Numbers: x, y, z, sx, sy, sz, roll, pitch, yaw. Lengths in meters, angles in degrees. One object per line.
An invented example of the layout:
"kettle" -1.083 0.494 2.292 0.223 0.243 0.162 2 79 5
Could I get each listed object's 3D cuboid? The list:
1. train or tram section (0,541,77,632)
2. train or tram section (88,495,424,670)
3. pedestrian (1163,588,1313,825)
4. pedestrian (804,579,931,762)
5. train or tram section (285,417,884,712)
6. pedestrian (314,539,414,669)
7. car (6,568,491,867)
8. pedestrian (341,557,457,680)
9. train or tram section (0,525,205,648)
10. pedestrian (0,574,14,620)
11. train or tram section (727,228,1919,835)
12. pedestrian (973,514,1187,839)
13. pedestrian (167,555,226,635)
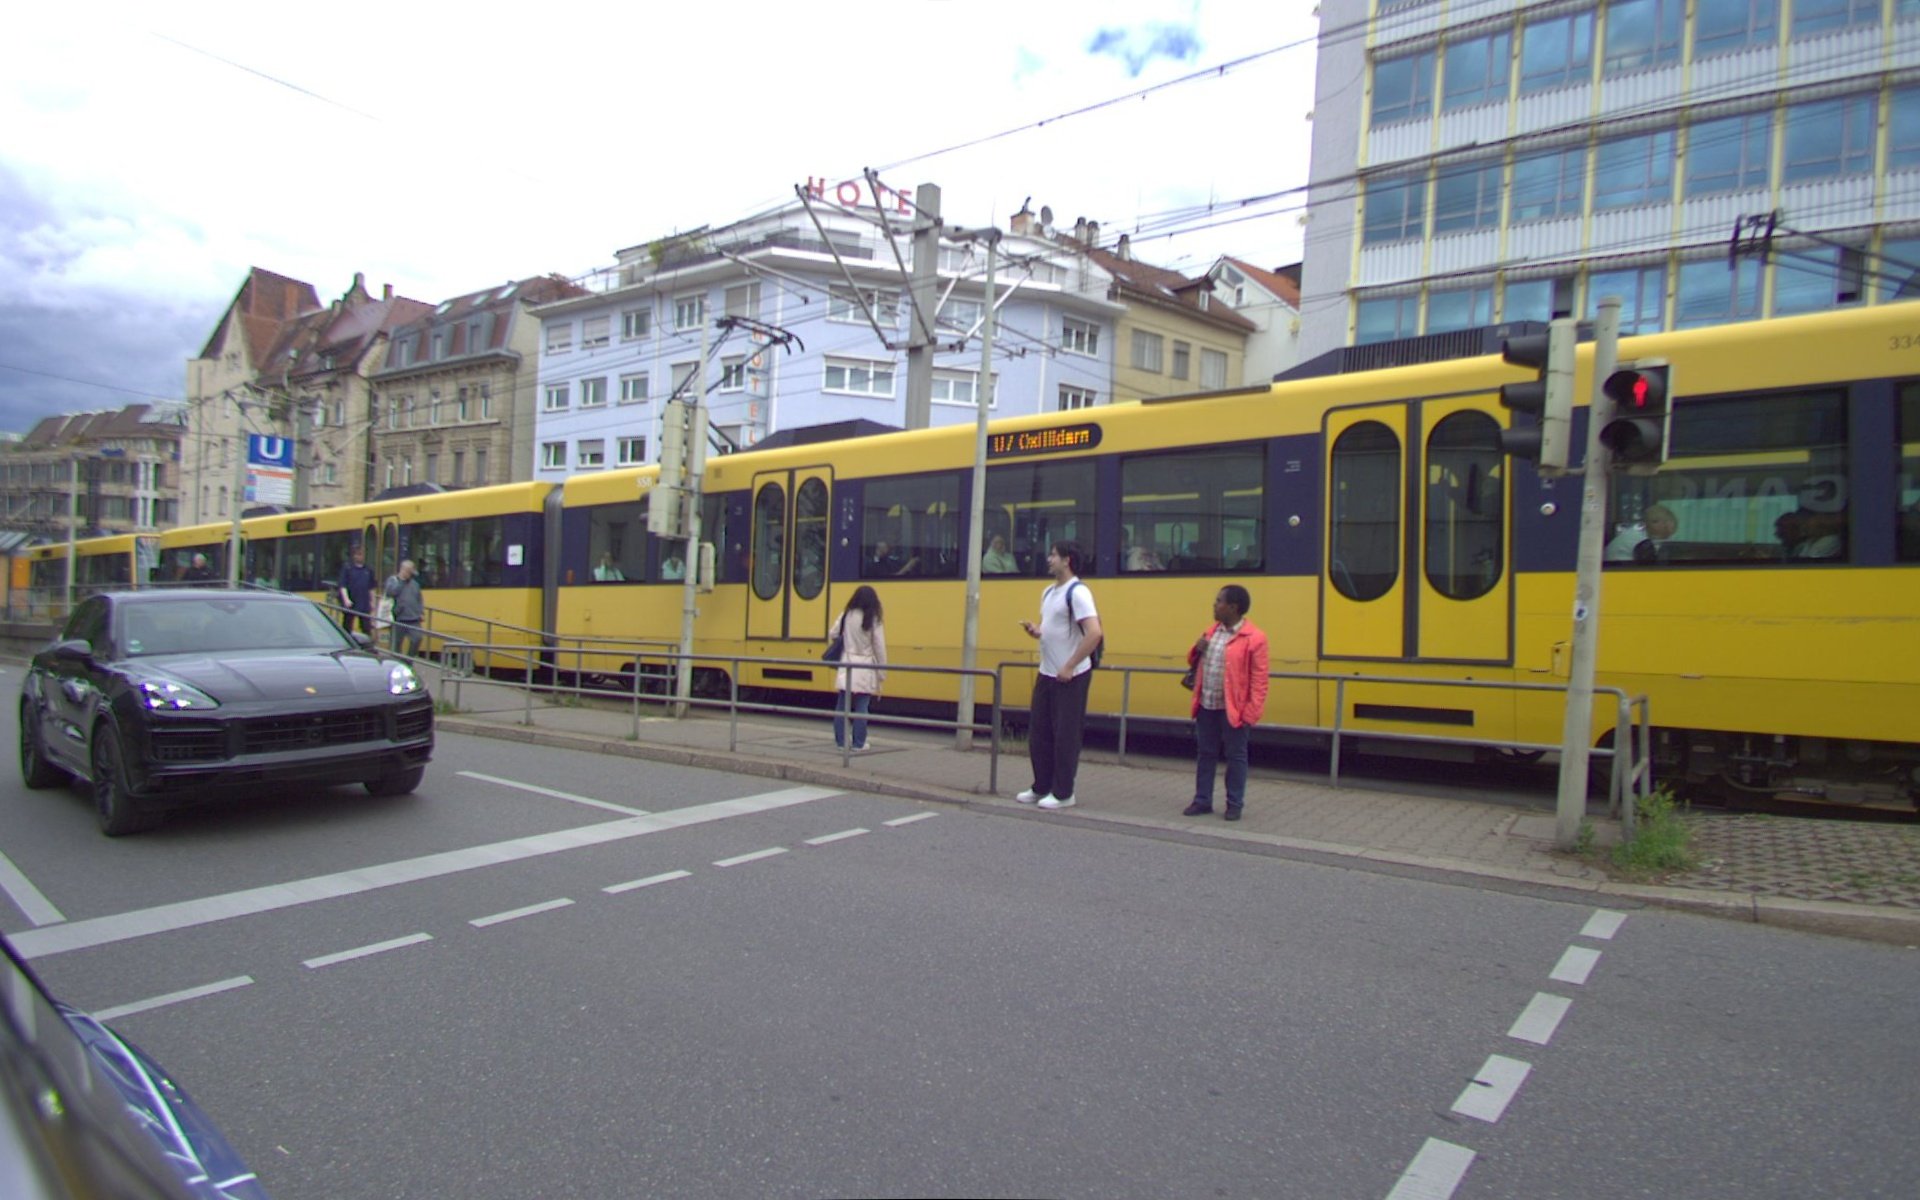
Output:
"train or tram section" -41.831 -0.517 43.366 14.200 3.467 2.856 0 1 36
"train or tram section" -19.036 -0.374 26.633 14.203 3.691 2.855 0 0 37
"pedestrian" 1.863 0.683 6.823 0.568 1.475 0.678 4 0 -33
"pedestrian" -0.880 0.639 9.615 0.999 1.637 0.669 0 -2 37
"train or tram section" -7.649 -0.429 18.110 14.206 3.691 2.855 0 -1 37
"pedestrian" -9.578 0.052 16.257 1.232 1.984 0.921 3 1 38
"car" -5.859 0.680 8.076 4.777 1.697 2.007 0 -1 40
"pedestrian" -8.378 0.272 15.126 1.040 1.692 1.106 6 2 37
"train or tram section" -30.442 -0.494 35.093 14.204 3.585 2.896 1 1 37
"pedestrian" -28.155 -0.091 29.378 0.777 1.316 0.842 0 -3 38
"train or tram section" 3.729 -0.403 9.496 14.449 3.691 2.855 0 -1 37
"pedestrian" 0.832 0.485 7.162 0.952 2.082 1.035 3 1 -33
"pedestrian" -15.615 -0.087 20.700 0.664 1.596 0.771 0 -2 37
